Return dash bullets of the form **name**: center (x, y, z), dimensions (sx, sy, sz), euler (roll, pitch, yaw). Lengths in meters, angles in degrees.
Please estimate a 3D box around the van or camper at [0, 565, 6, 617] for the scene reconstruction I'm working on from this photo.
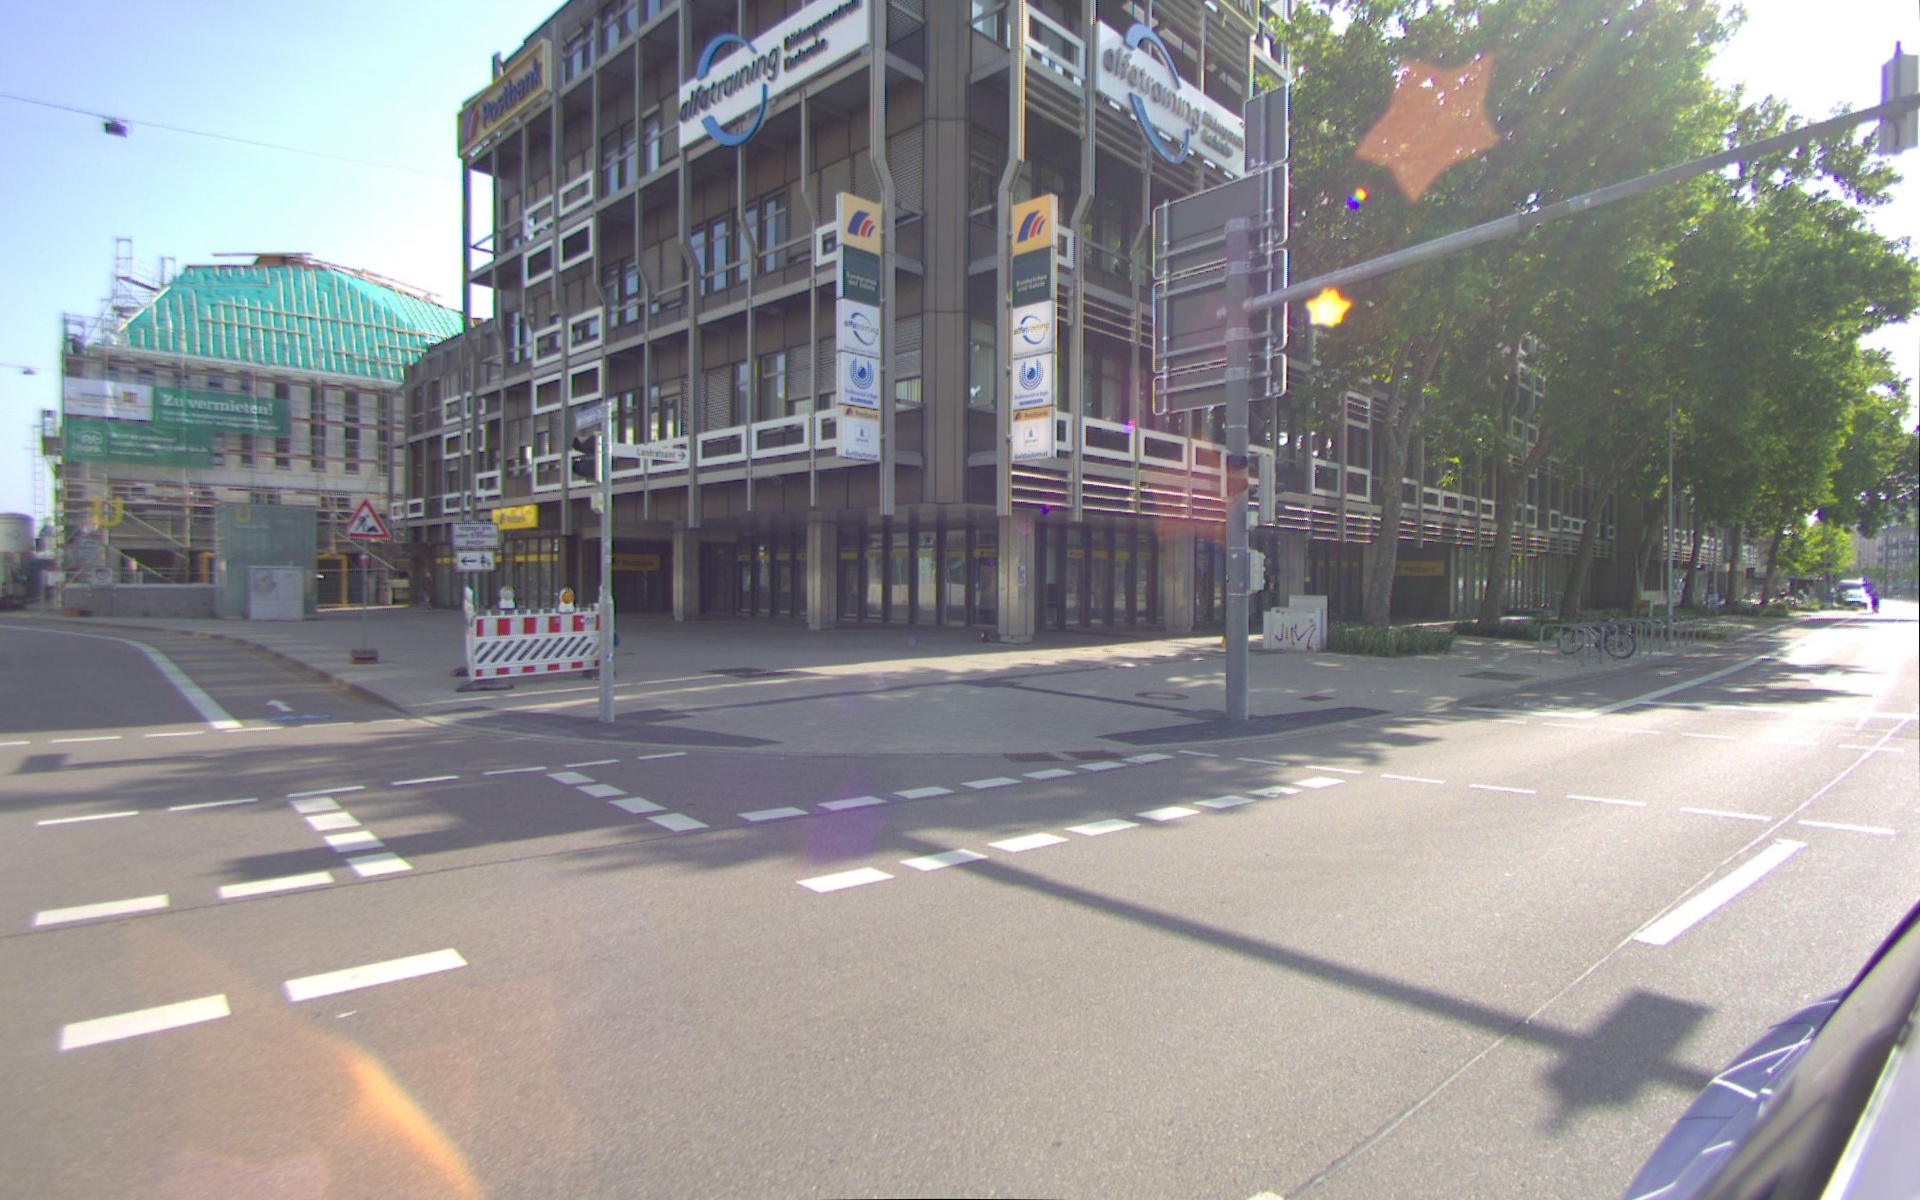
- **van or camper**: center (-47.478, -0.464, 48.826), dimensions (1.966, 2.439, 5.134), euler (-1, 1, -42)

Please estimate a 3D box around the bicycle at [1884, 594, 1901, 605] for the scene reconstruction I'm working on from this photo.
- **bicycle**: center (66.102, -0.037, 71.751), dimensions (0.626, 0.715, 1.787), euler (0, 1, 34)

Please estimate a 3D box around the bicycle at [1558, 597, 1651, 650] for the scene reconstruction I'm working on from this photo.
- **bicycle**: center (15.811, 0.560, 24.864), dimensions (0.528, 1.202, 1.831), euler (-1, 2, -40)

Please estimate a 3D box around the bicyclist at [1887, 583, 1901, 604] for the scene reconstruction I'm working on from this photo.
- **bicyclist**: center (66.135, -0.461, 71.690), dimensions (0.608, 1.532, 0.804), euler (0, 1, 34)

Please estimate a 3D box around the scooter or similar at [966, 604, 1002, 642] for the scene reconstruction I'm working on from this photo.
- **scooter or similar**: center (0.563, 0.529, 23.760), dimensions (0.278, 0.853, 0.944), euler (0, 1, 44)
